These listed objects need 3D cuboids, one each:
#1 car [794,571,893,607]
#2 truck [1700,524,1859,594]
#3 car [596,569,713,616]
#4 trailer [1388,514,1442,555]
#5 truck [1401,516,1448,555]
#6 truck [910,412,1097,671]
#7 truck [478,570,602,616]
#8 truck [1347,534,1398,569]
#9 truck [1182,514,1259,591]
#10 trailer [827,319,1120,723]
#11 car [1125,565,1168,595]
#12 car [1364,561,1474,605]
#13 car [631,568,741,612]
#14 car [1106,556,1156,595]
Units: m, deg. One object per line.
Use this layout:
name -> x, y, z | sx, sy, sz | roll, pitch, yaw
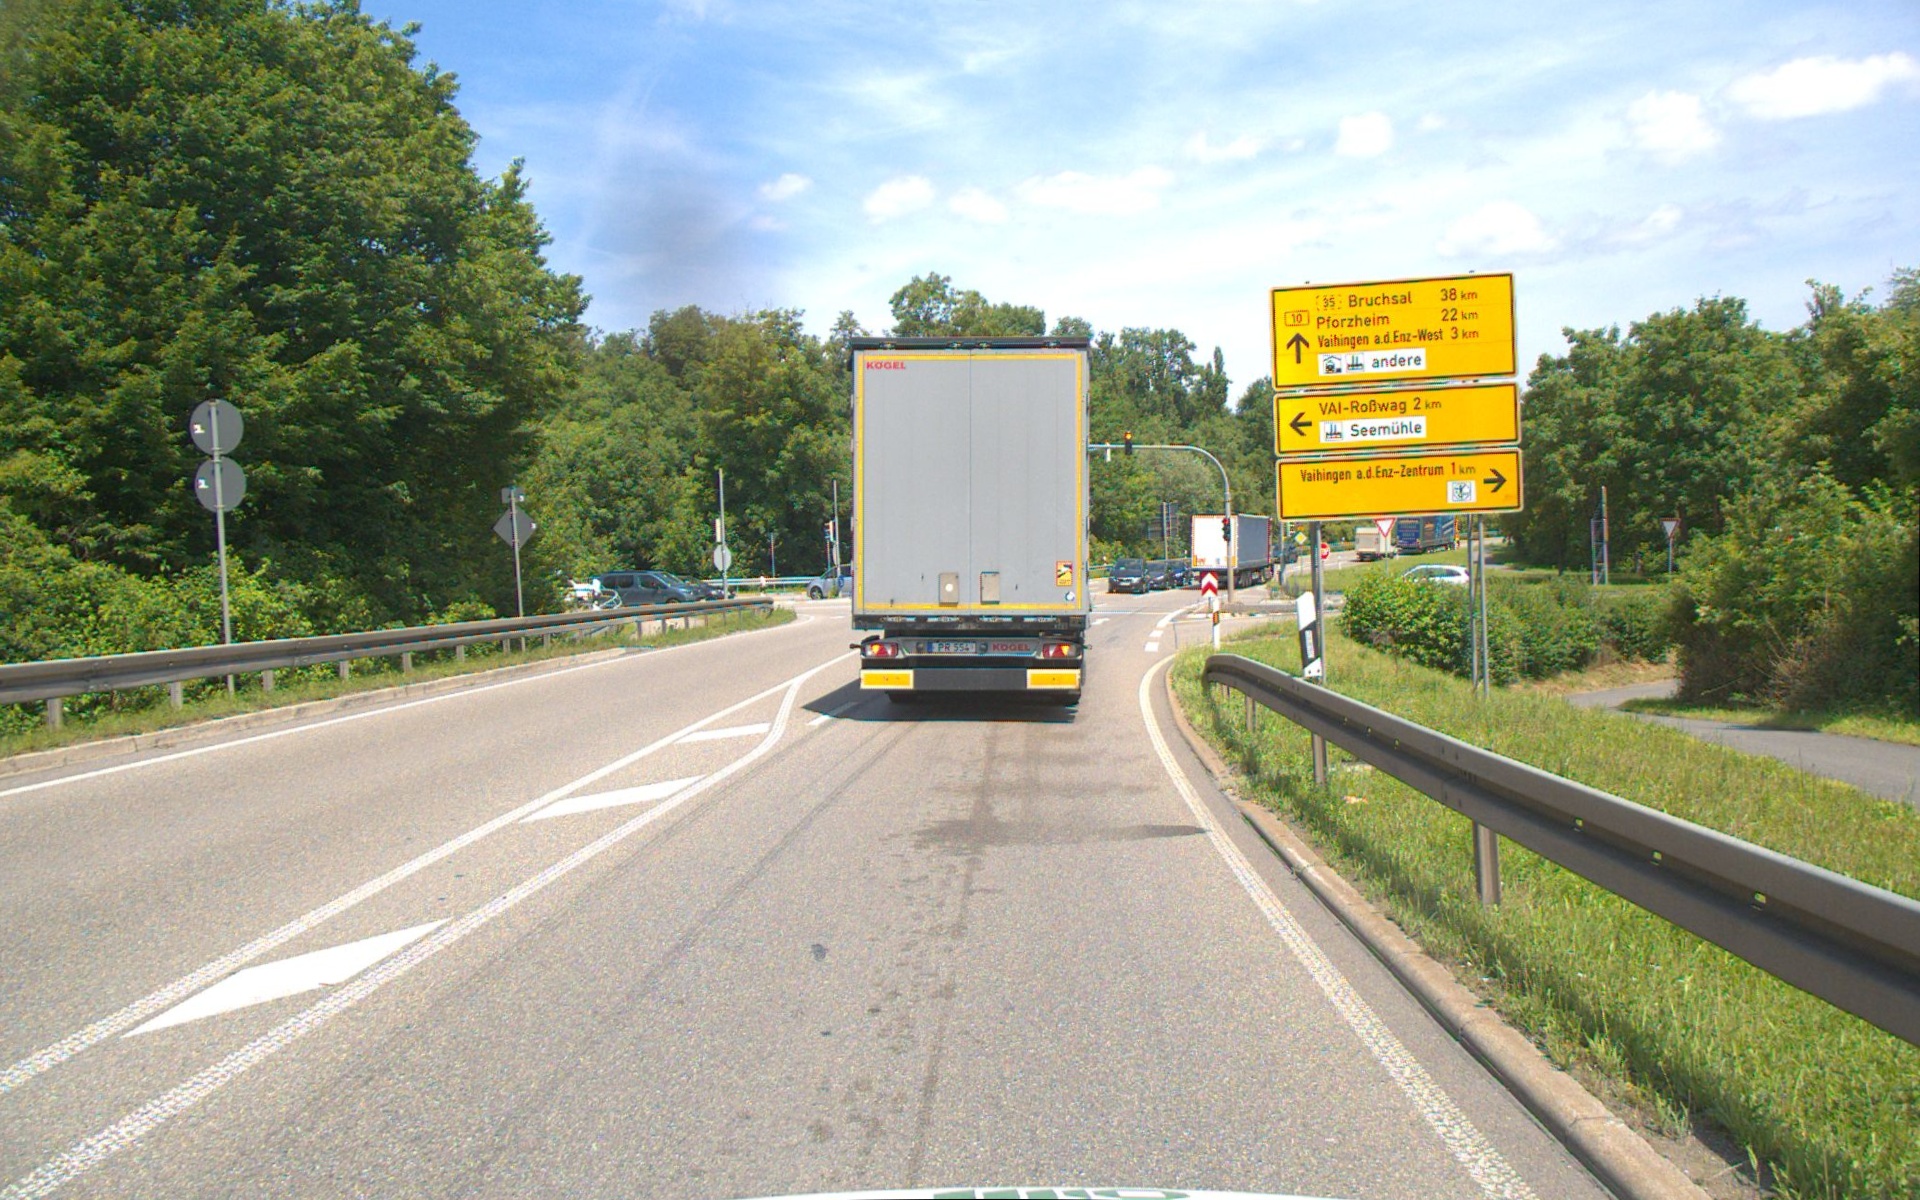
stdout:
car -> -5.208, -0.493, 74.071 | 3.904, 1.545, 2.001 | 1, -1, 19
truck -> 34.440, -1.707, 69.661 | 5.893, 2.775, 2.499 | 1, -1, 26
car -> -12.156, -0.299, 65.836 | 4.144, 1.801, 2.001 | 0, 0, 16
trailer -> 43.919, -6.266, 159.500 | 3.189, 3.749, 9.239 | 1, 1, 27
truck -> 45.864, -6.339, 163.216 | 3.189, 3.749, 6.237 | 1, 1, 28
truck -> 0.879, -0.960, 29.599 | 2.974, 4.104, 6.632 | 0, 1, 3
truck -> -17.635, -0.289, 69.668 | 4.782, 1.823, 2.041 | 1, -1, -6
truck -> 36.174, -4.228, 144.871 | 2.800, 2.999, 7.096 | 1, 1, 28
truck -> 14.977, -2.677, 94.235 | 3.111, 4.099, 11.755 | 0, 1, 15
trailer -> 0.492, -0.872, 23.152 | 2.988, 4.104, 12.565 | 0, 1, 3
car -> 10.268, -1.072, 90.795 | 1.951, 1.517, 4.261 | 1, -1, 12
car -> 19.454, -0.695, 70.197 | 4.333, 1.748, 2.002 | 1, -1, 11
car -> -11.559, -0.417, 69.930 | 4.144, 1.801, 2.001 | 0, 0, 16
car -> 8.710, -1.193, 83.918 | 1.951, 1.816, 4.946 | -1, -1, 13
